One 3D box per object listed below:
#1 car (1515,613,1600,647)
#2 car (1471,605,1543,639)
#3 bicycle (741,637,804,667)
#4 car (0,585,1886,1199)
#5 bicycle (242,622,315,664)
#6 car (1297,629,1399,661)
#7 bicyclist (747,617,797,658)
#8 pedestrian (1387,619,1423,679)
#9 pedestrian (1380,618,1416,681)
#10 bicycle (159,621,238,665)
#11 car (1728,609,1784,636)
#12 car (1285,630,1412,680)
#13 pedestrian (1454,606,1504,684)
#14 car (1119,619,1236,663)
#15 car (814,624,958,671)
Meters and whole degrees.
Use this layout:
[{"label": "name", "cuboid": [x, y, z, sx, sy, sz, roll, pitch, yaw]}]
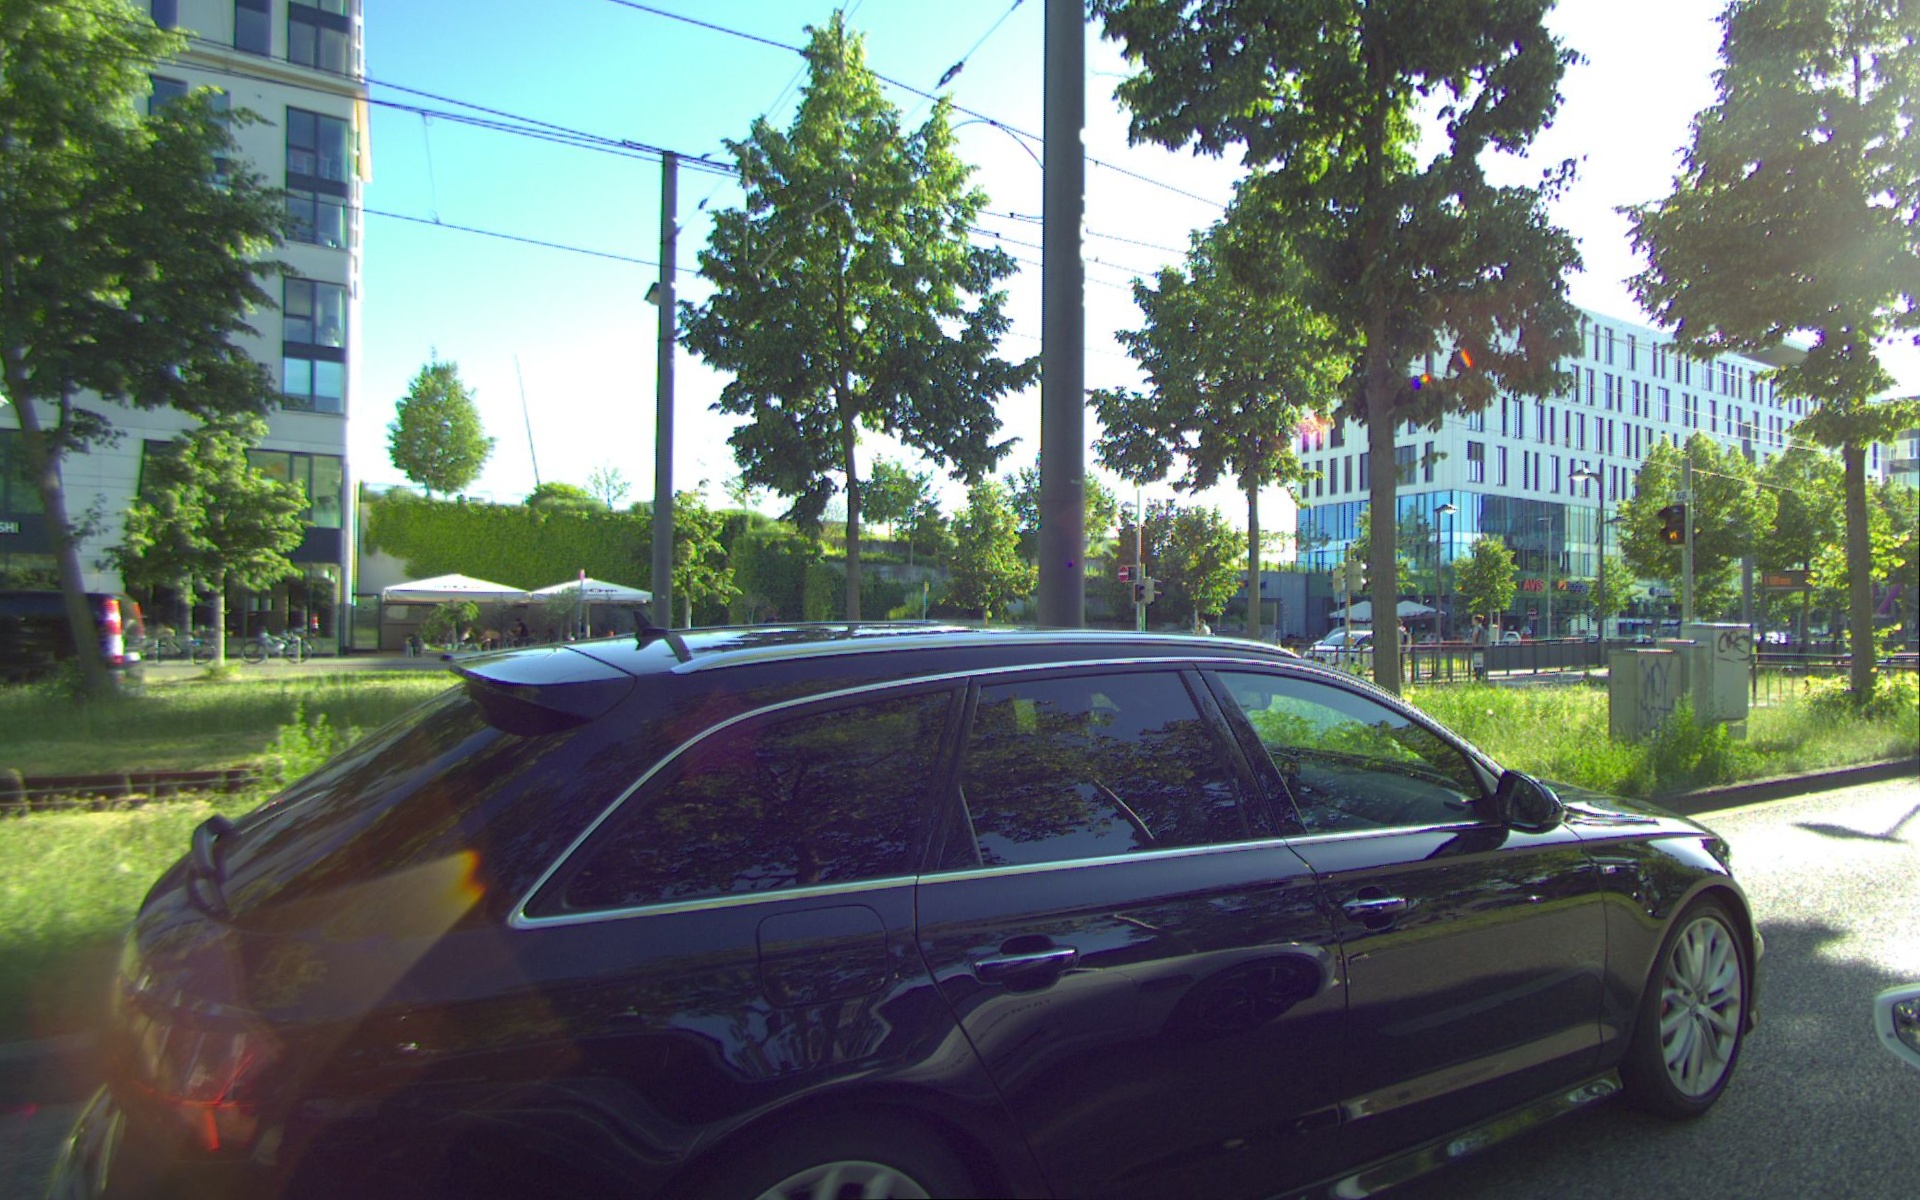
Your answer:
[{"label": "car", "cuboid": [32.586, 1.626, 54.757, 4.555, 1.694, 1.985, 2, 0, -29]}, {"label": "car", "cuboid": [35.916, 1.430, 65.958, 4.508, 2.040, 1.985, 2, 1, -29]}, {"label": "bicycle", "cuboid": [-6.648, 1.843, 35.683, 2.163, 1.014, 0.494, 2, 0, -31]}, {"label": "car", "cuboid": [0.477, 0.770, 3.011, 5.024, 1.500, 1.944, 1, 0, -30]}, {"label": "bicycle", "cuboid": [-21.278, 1.341, 31.399, 1.818, 1.269, 0.585, 2, 0, -31]}, {"label": "car", "cuboid": [17.963, 2.094, 46.472, 4.555, 1.343, 1.904, 2, 0, -29]}, {"label": "bicyclist", "cuboid": [-6.677, 1.344, 35.660, 1.641, 1.424, 0.486, 2, 0, -31]}, {"label": "pedestrian", "cuboid": [11.548, 1.274, 26.070, 0.595, 1.516, 0.541, 2, 0, -26]}, {"label": "pedestrian", "cuboid": [11.102, 1.248, 25.445, 0.580, 1.538, 0.548, 2, 0, -25]}, {"label": "bicycle", "cuboid": [-23.035, 1.300, 30.389, 1.806, 1.269, 0.589, 2, 0, -9]}, {"label": "car", "cuboid": [64.475, 1.857, 81.334, 4.508, 2.040, 1.985, 2, 0, -29]}, {"label": "car", "cuboid": [13.094, 1.823, 33.829, 3.956, 1.506, 1.982, 2, 0, -32]}, {"label": "pedestrian", "cuboid": [12.878, 1.101, 24.925, 0.718, 1.860, 0.816, 2, 0, -32]}, {"label": "car", "cuboid": [8.906, 1.673, 41.032, 4.555, 1.642, 1.871, 2, 0, -29]}, {"label": "car", "cuboid": [-2.527, 1.621, 34.418, 4.555, 1.454, 1.871, 2, 0, -29]}]
